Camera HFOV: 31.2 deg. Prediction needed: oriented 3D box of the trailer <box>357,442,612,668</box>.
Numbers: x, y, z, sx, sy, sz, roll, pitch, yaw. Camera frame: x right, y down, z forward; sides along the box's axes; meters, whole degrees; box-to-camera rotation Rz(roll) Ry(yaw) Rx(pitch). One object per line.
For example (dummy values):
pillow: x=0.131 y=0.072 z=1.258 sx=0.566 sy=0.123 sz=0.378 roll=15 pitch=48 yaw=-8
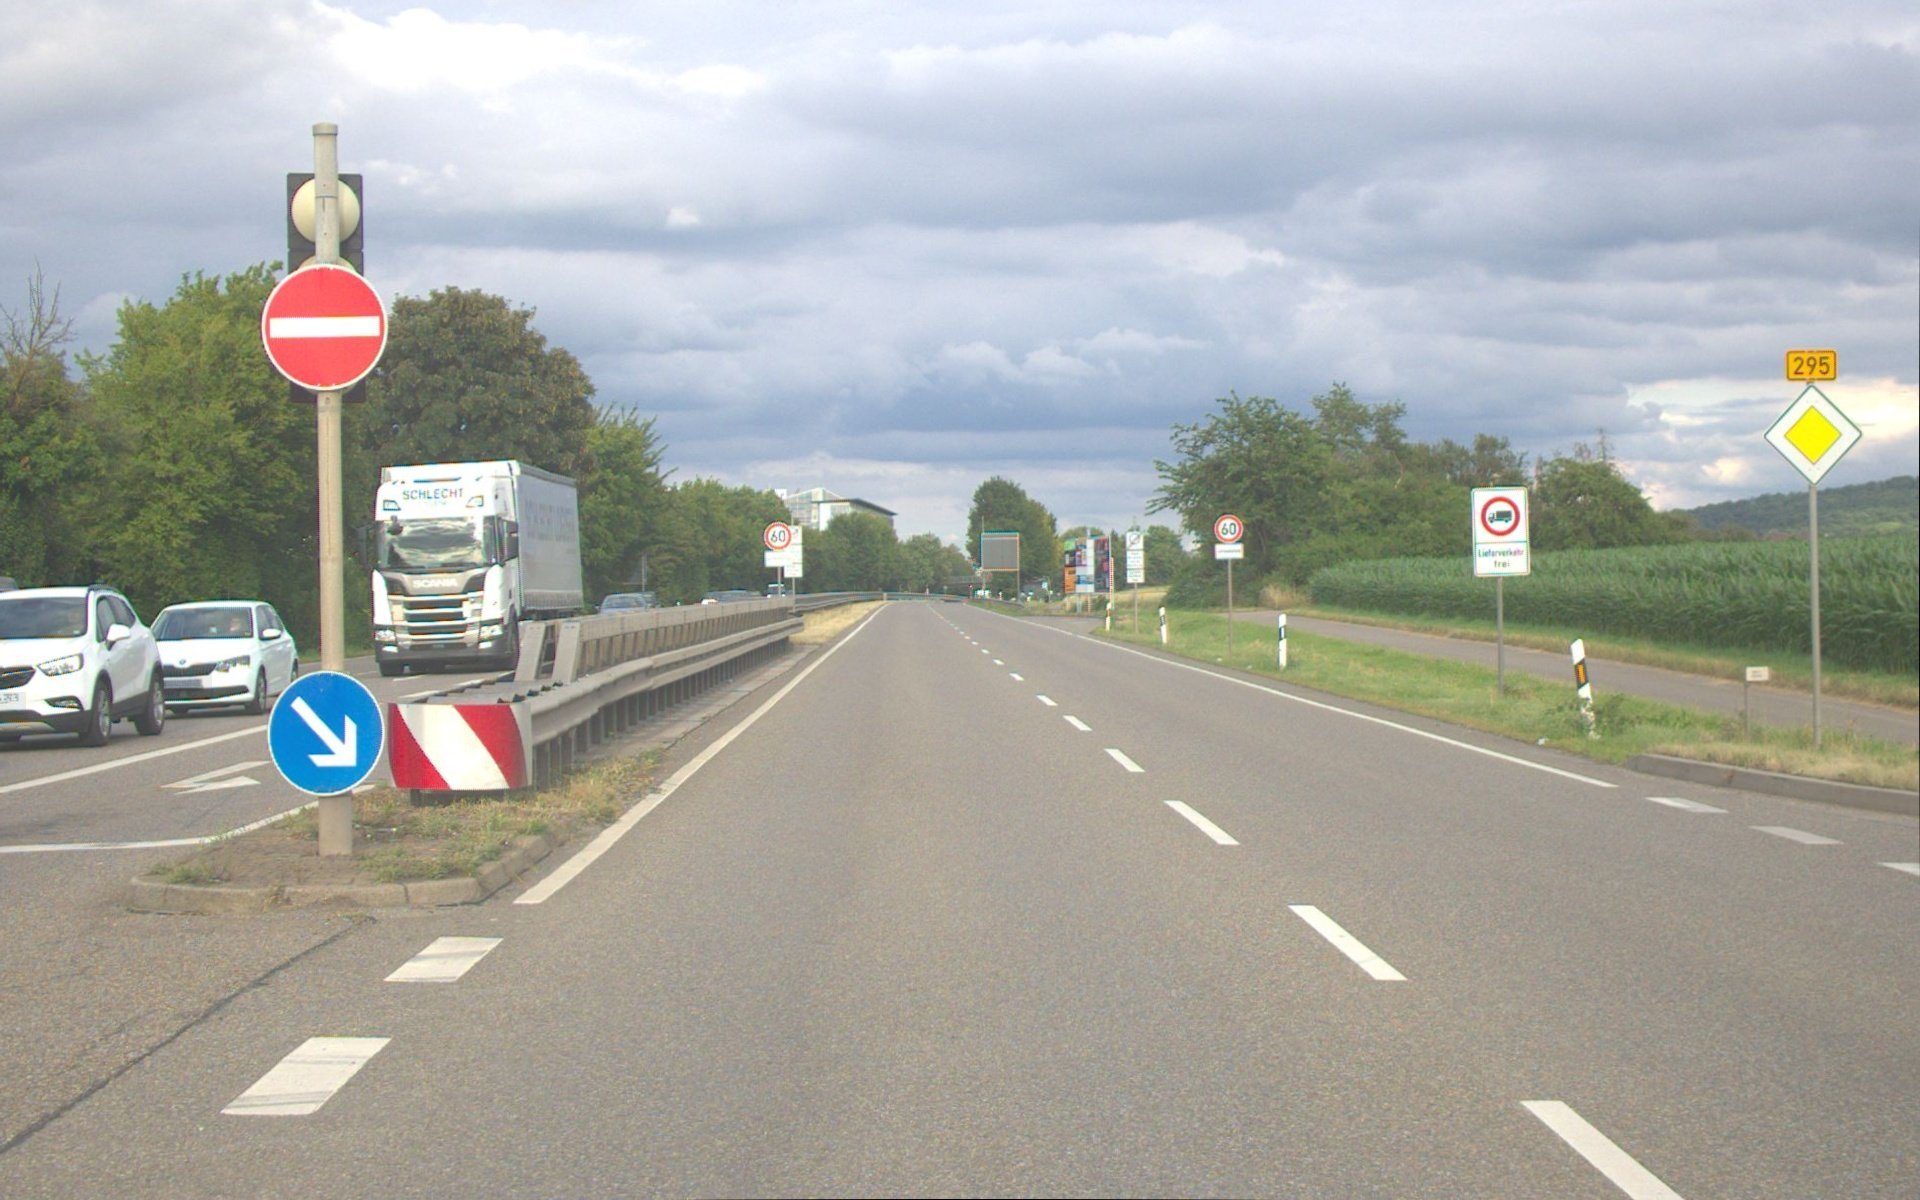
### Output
trailer: x=-9.725 y=-0.904 z=72.192 sx=3.465 sy=4.136 sz=13.917 roll=-3 pitch=0 yaw=-1

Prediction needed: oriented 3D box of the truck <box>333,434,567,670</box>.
truck: x=-9.621 y=-0.889 z=65.554 sx=3.474 sy=4.136 sz=6.050 roll=-3 pitch=0 yaw=-1

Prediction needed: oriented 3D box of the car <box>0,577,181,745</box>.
car: x=-9.541 y=0.595 z=35.789 sx=1.907 sy=1.604 sz=4.405 roll=-1 pitch=1 yaw=-1

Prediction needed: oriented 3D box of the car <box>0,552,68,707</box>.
car: x=-13.435 y=0.417 z=45.374 sx=1.993 sy=2.007 sz=4.947 roll=-2 pitch=0 yaw=0

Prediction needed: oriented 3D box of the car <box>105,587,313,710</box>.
car: x=-9.583 y=0.587 z=44.157 sx=1.789 sy=1.439 sz=4.160 roll=-1 pitch=1 yaw=-1

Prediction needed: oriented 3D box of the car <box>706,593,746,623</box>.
car: x=-12.384 y=0.399 z=182.323 sx=1.866 sy=1.472 sz=4.826 roll=-1 pitch=1 yaw=-1

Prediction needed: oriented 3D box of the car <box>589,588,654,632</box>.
car: x=-11.191 y=0.313 z=113.814 sx=1.789 sy=1.381 sz=4.160 roll=-1 pitch=1 yaw=-1
